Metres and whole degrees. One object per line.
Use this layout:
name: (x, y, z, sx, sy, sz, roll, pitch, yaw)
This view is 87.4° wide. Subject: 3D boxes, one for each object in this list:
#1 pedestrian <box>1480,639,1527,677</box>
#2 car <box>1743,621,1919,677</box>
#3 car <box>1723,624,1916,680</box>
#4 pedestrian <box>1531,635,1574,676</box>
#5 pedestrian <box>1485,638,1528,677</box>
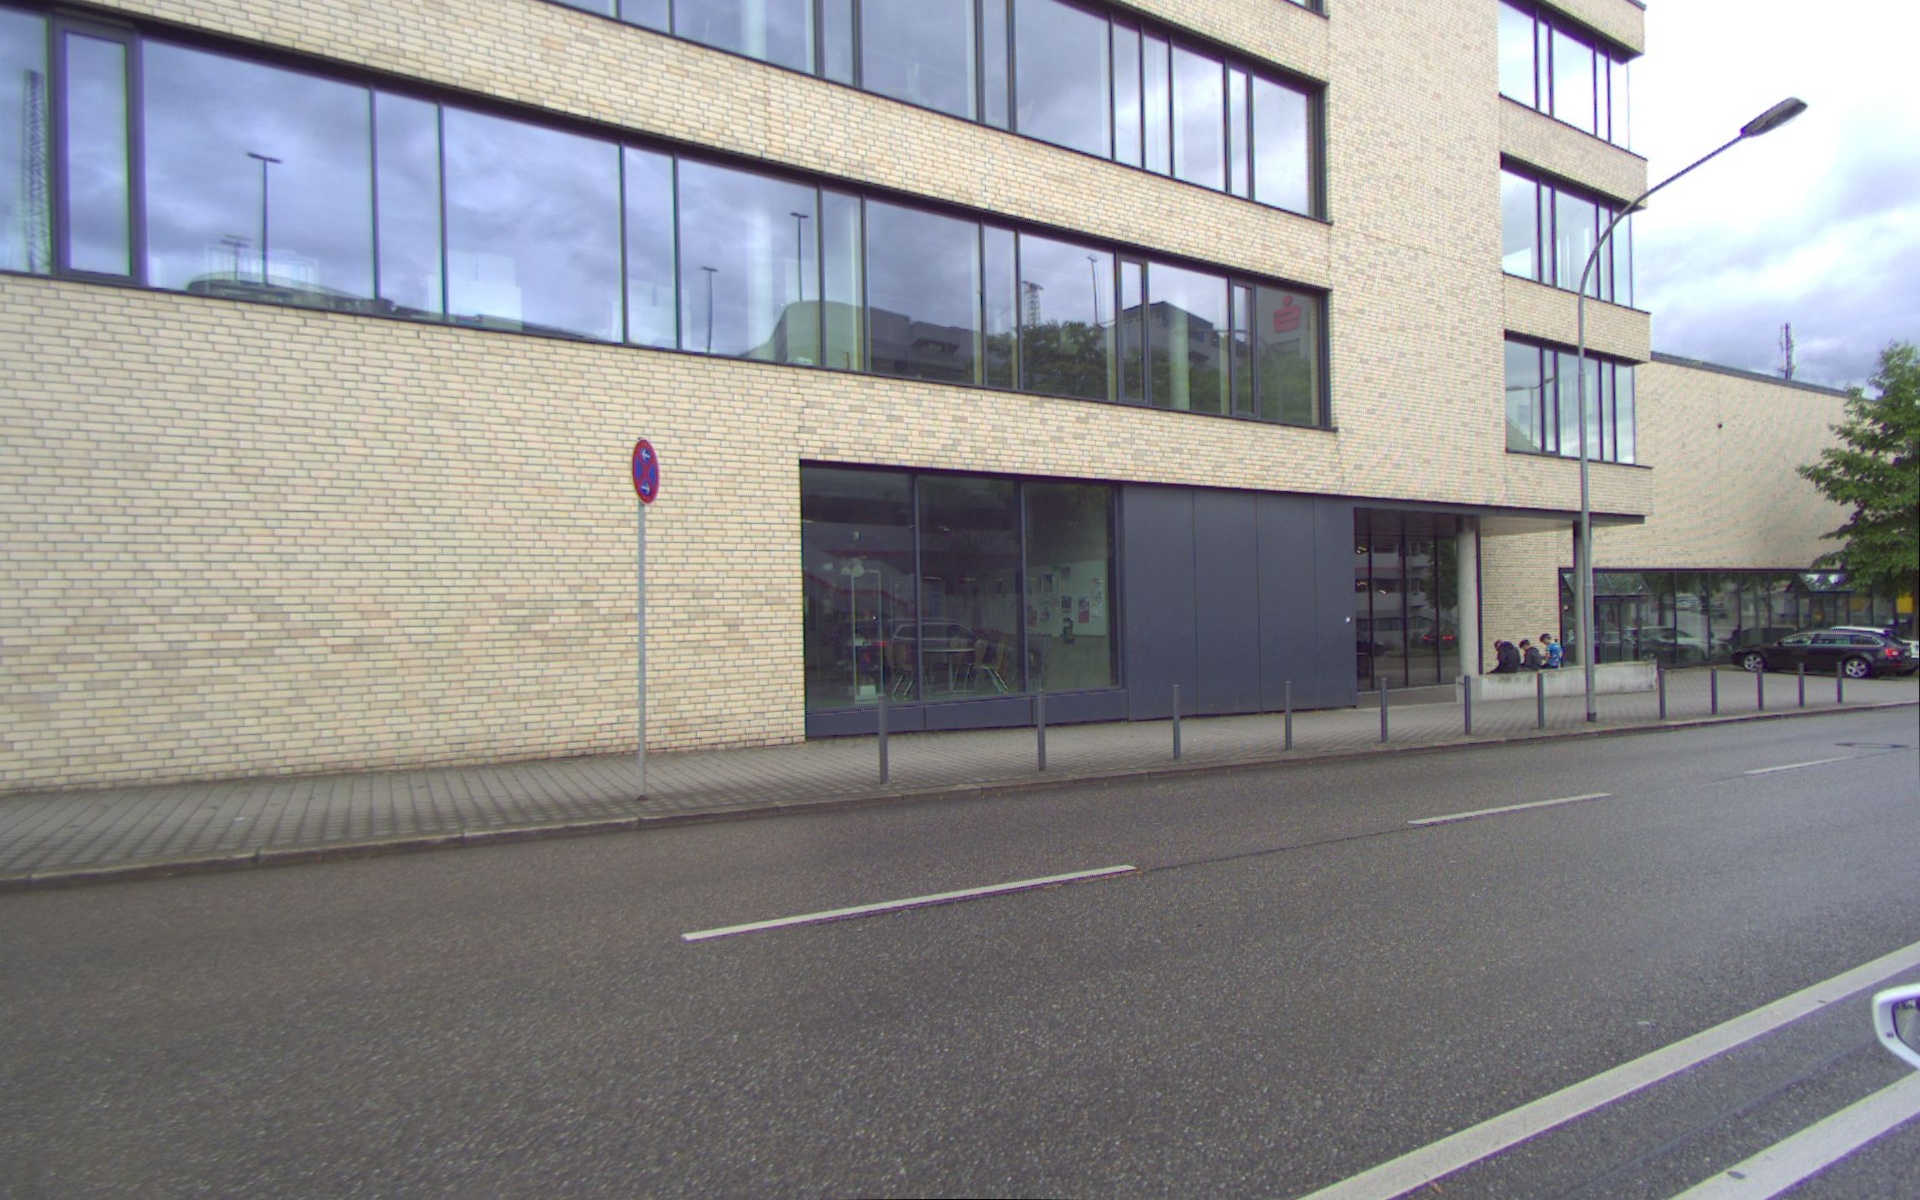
pedestrian: (12.079, 1.284, 22.344, 0.751, 0.796, 0.595, 2, 0, -29)
car: (29.583, 1.588, 34.058, 1.979, 1.595, 4.390, -1, 1, -33)
car: (27.911, 1.638, 32.760, 1.980, 1.608, 4.439, 1, 0, -35)
pedestrian: (13.825, 1.295, 23.447, 0.518, 0.897, 0.678, 2, 0, -29)
pedestrian: (12.587, 1.314, 23.142, 0.718, 0.856, 0.584, 2, -1, -29)
